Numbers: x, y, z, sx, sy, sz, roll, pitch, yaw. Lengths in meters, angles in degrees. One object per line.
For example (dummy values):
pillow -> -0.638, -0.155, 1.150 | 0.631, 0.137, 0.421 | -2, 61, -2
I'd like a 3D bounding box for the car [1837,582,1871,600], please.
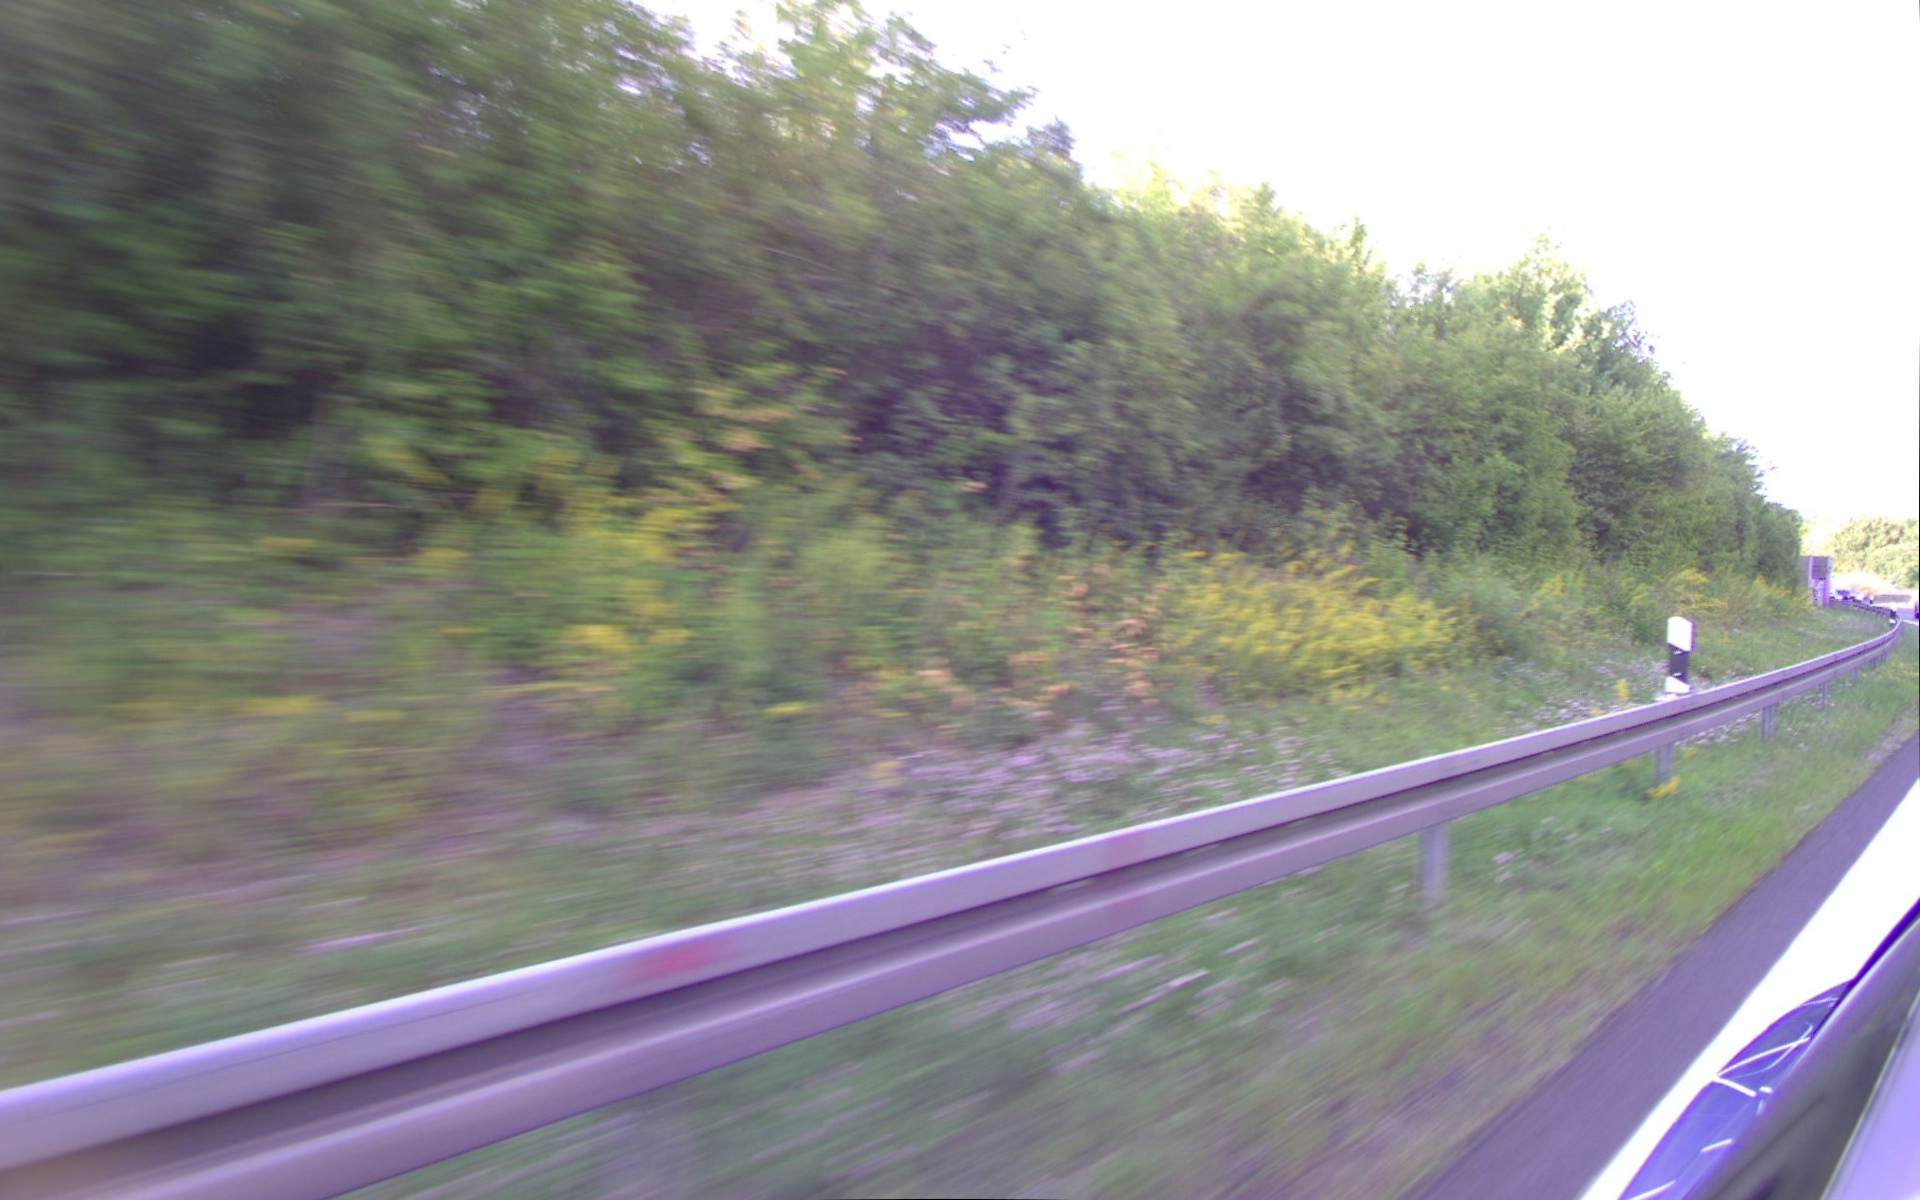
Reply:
car -> 75.036, -0.762, 84.968 | 1.609, 1.478, 3.620 | 0, 1, 33
